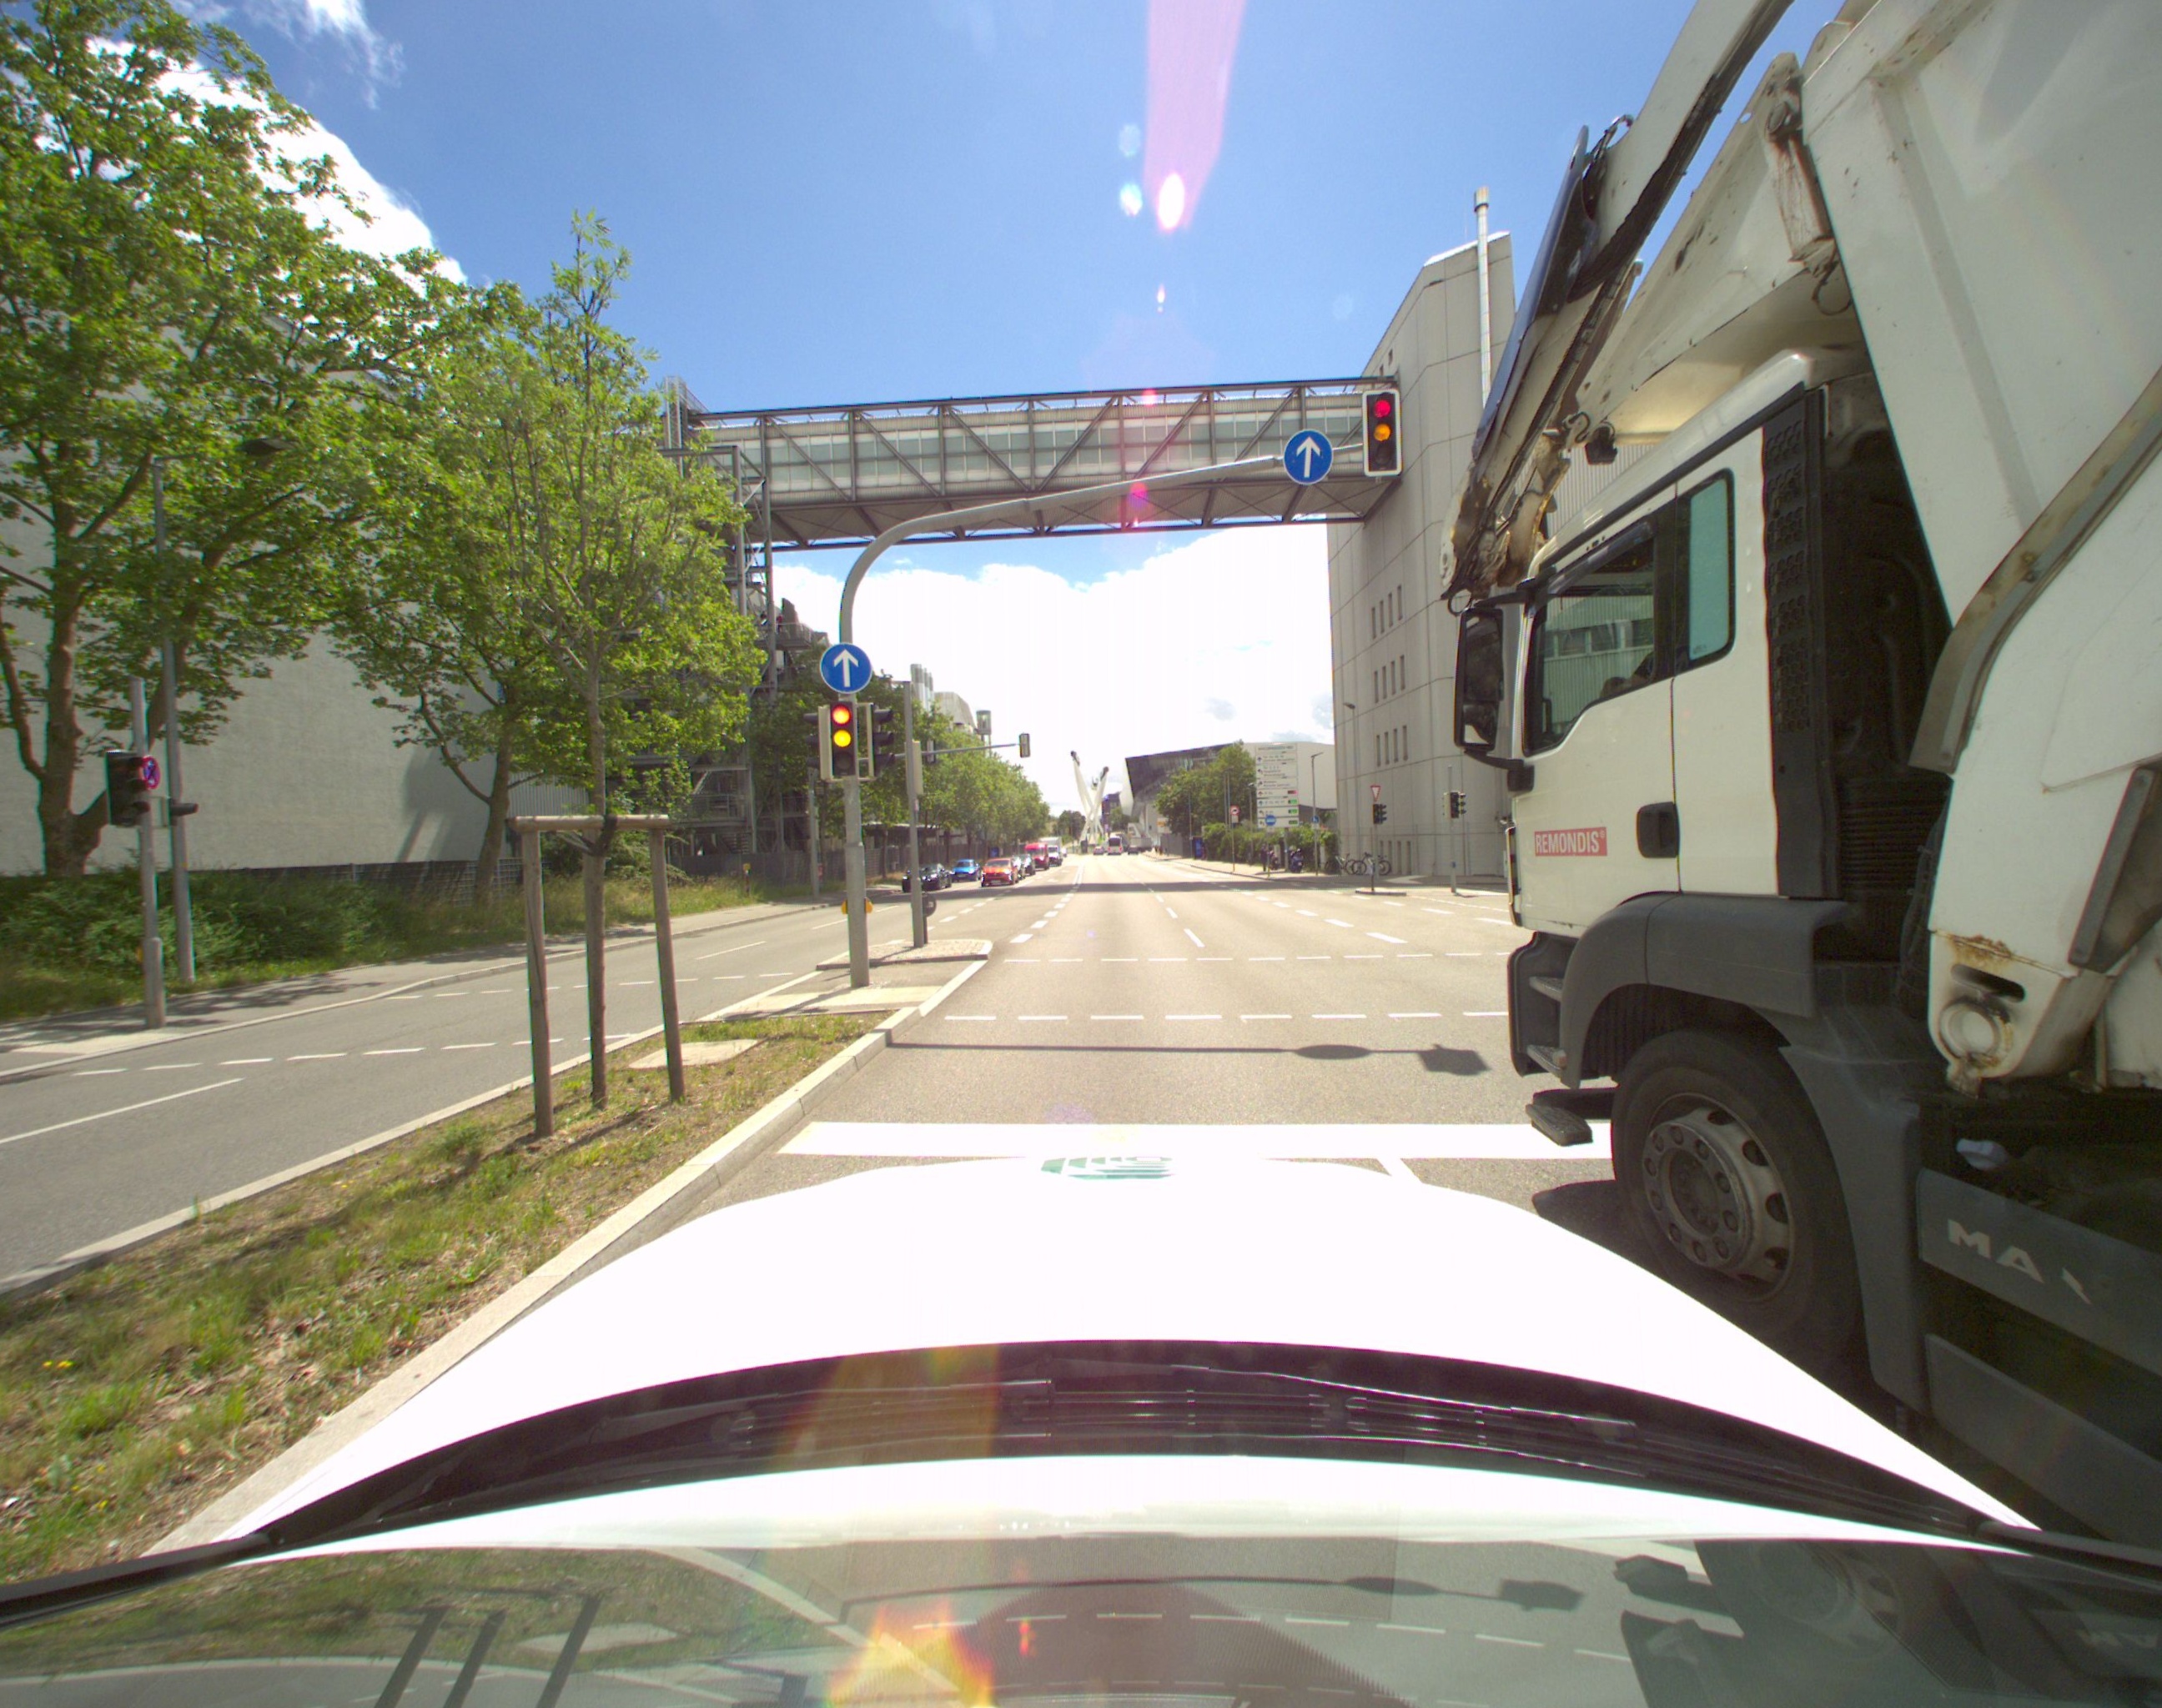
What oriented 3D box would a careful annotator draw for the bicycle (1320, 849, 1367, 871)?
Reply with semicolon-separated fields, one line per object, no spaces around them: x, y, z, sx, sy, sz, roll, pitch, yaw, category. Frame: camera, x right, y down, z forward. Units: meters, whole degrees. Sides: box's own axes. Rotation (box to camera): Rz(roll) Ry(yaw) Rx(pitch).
13.090;0.287;40.709;2.196;1.086;0.480;-1;-1;37;bicycle

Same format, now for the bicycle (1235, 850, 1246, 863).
12.732;0.186;65.135;0.417;1.022;1.911;0;-1;-2;bicycle

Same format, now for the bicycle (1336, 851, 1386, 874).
13.523;0.410;39.365;2.196;1.086;0.480;-1;-1;37;bicycle

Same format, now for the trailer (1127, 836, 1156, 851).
12.922;-2.235;172.233;3.291;2.995;10.429;-1;-1;21;trailer

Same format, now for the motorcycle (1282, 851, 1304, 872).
11.657;0.407;44.900;0.418;1.166;1.951;0;-1;-9;motorcycle

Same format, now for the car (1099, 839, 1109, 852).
4.919;-1.726;172.728;1.836;2.624;4.003;0;-1;3;car

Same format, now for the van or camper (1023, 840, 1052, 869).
-3.938;0.054;74.189;2.038;2.466;5.598;-1;0;3;van or camper

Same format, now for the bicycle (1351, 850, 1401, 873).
13.905;0.364;38.423;2.166;1.086;0.480;-1;-1;37;bicycle

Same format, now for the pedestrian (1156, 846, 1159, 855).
12.418;-0.573;132.000;0.384;1.421;0.424;0;-1;2;pedestrian

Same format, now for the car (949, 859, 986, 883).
-7.590;1.123;54.683;1.720;1.382;3.704;-4;0;3;car

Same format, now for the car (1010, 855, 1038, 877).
-4.192;0.884;60.086;1.551;1.448;3.775;-4;0;3;car

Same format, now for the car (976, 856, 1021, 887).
-4.402;0.910;43.956;1.762;1.420;3.704;-4;0;3;car

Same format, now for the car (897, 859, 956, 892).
-8.088;1.105;43.092;1.910;1.488;4.775;-4;0;3;car

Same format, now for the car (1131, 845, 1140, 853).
9.712;-0.907;146.242;1.551;1.273;3.704;-4;0;3;car

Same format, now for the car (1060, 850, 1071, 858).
-2.687;-0.087;141.293;1.551;1.273;3.704;-4;0;3;car

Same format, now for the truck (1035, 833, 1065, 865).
-3.248;-0.459;87.450;2.581;3.324;7.083;0;-1;3;truck

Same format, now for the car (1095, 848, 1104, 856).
3.367;-0.338;148.905;1.551;1.273;3.704;-4;0;3;car

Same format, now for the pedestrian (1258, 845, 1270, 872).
11.201;0.249;49.807;0.532;1.640;0.657;0;-1;-4;pedestrian

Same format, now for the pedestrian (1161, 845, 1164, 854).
12.831;-0.652;128.019;0.384;1.421;0.424;0;-1;2;pedestrian

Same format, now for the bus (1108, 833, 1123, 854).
6.359;-1.907;150.318;2.776;3.686;6.947;0;-1;3;bus

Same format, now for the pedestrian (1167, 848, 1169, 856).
14.102;-0.314;132.240;0.384;1.421;0.424;0;-1;2;pedestrian

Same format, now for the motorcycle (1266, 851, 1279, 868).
12.181;0.347;51.877;0.455;1.022;1.914;0;-1;4;motorcycle

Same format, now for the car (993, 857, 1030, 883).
-4.396;0.980;51.810;1.762;1.420;3.704;-4;0;3;car
